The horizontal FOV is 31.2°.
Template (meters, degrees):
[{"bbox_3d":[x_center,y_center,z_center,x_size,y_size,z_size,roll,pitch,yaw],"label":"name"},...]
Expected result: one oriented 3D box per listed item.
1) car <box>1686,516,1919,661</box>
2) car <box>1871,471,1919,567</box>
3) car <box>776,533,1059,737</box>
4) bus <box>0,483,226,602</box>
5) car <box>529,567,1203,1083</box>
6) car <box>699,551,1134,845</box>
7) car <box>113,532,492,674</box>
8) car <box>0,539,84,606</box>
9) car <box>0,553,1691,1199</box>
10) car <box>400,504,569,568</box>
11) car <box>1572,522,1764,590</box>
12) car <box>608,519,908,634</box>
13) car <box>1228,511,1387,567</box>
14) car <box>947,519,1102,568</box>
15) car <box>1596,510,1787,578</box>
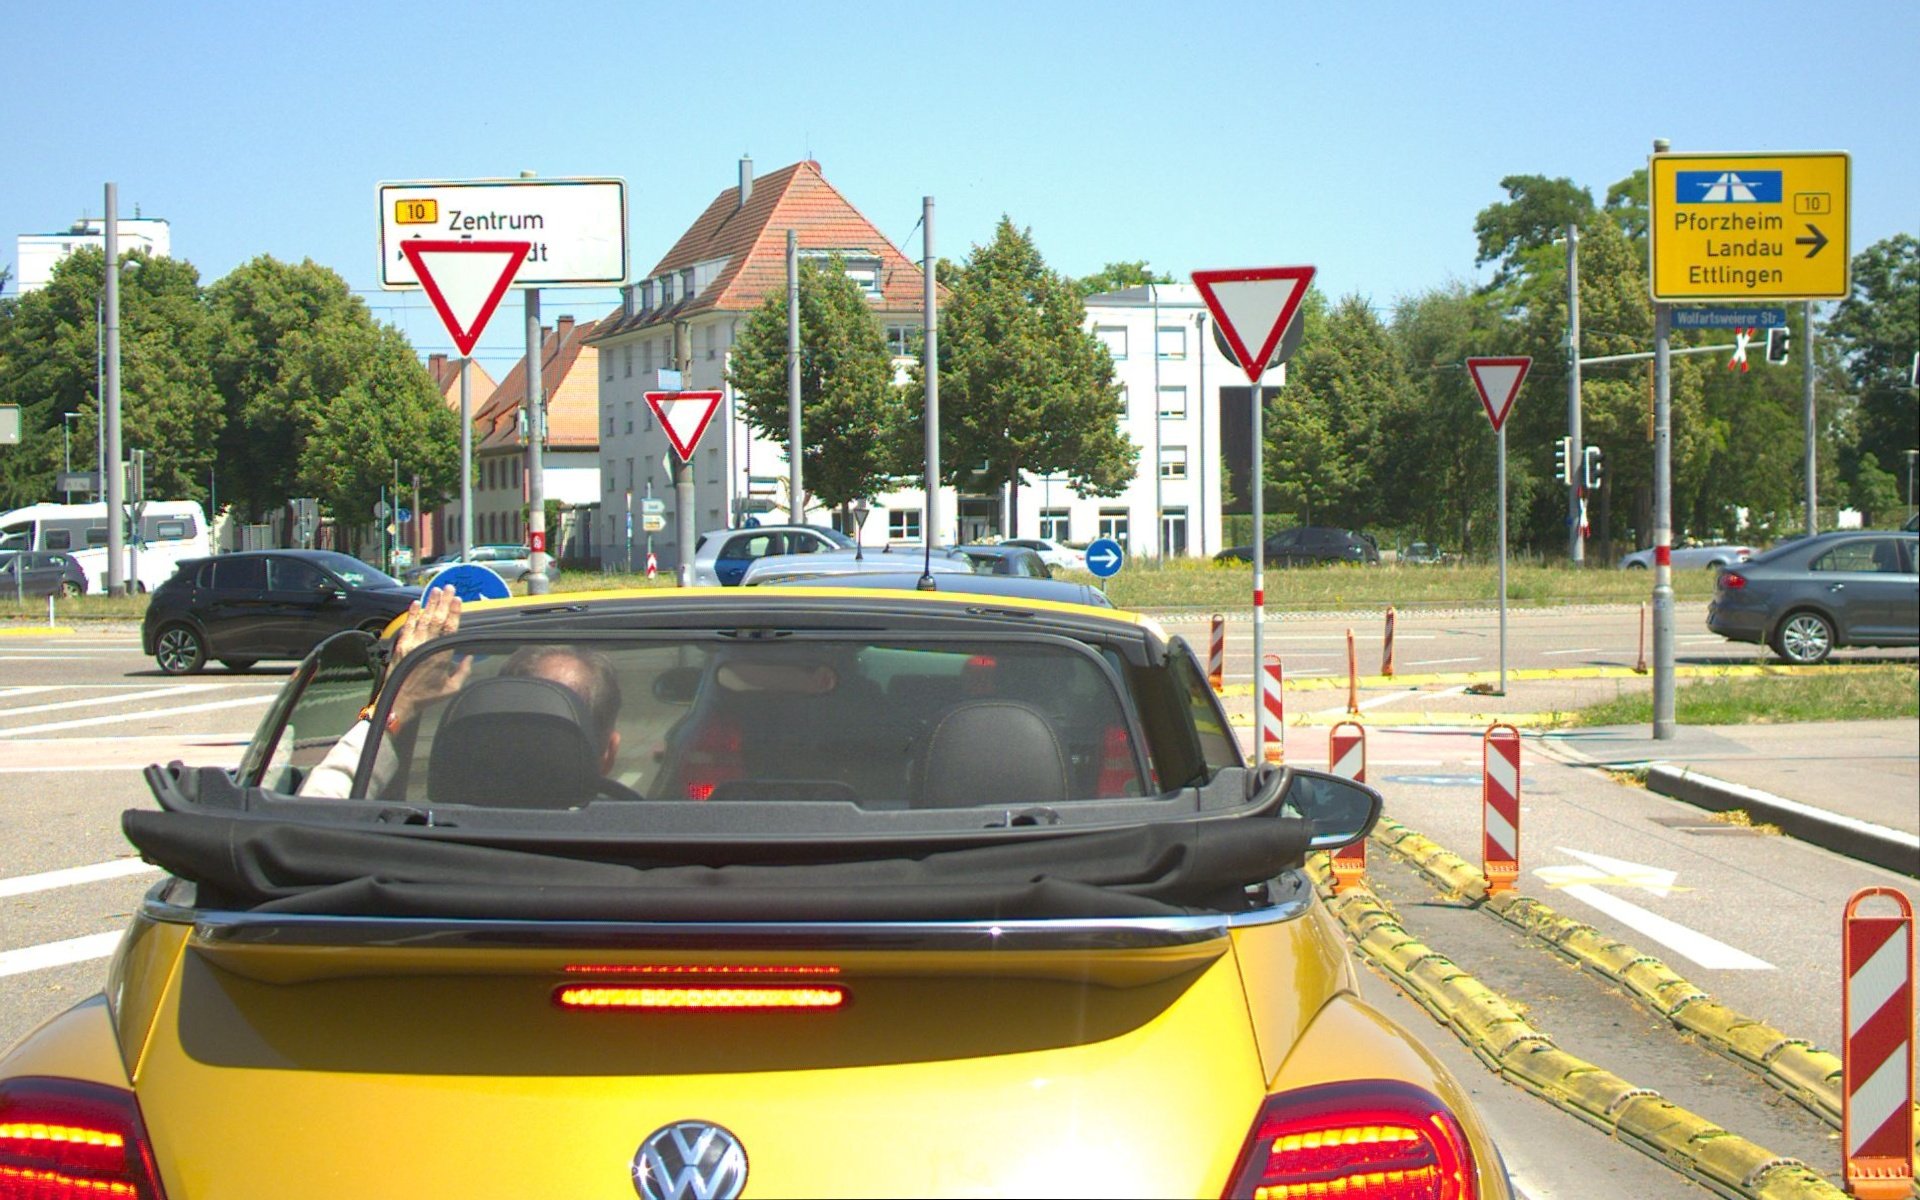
[{"bbox_3d":[10.344,-0.125,38.223,4.330,1.547,1.727,1,0,9],"label":"car"},{"bbox_3d":[25.025,-1.995,84.933,1.987,2.389,5.330,1,1,-23],"label":"car"},{"bbox_3d":[-0.340,0.214,27.617,2.065,1.476,4.543,-1,1,-1],"label":"car"},{"bbox_3d":[-24.275,-1.575,95.514,7.254,3.161,2.261,0,1,-37],"label":"bus"},{"bbox_3d":[-0.284,0.605,11.674,1.851,1.361,4.258,-1,1,-1],"label":"car"},{"bbox_3d":[-0.230,0.448,18.579,2.065,1.377,4.258,1,1,-1],"label":"car"},{"bbox_3d":[-7.708,0.023,40.394,3.990,1.546,1.727,0,3,15],"label":"car"},{"bbox_3d":[-25.541,-0.747,90.588,4.430,1.730,1.849,0,1,-31],"label":"car"},{"bbox_3d":[-0.290,0.685,5.073,1.765,1.476,4.258,1,1,-1],"label":"car"},{"bbox_3d":[-13.602,-1.827,98.388,4.429,1.730,1.849,1,1,-27],"label":"car"},{"bbox_3d":[21.207,-1.324,103.102,5.323,1.955,1.989,1,1,40],"label":"car"},{"bbox_3d":[-2.838,-0.335,48.711,3.988,1.547,1.727,1,0,6],"label":"car"},{"bbox_3d":[10.412,-1.828,103.102,4.324,1.608,1.878,1,1,29],"label":"car"},{"bbox_3d":[1.893,-1.639,100.170,4.318,1.367,1.752,1,0,7],"label":"car"},{"bbox_3d":[21.894,-1.675,102.882,5.317,1.955,1.992,1,1,21],"label":"car"}]
